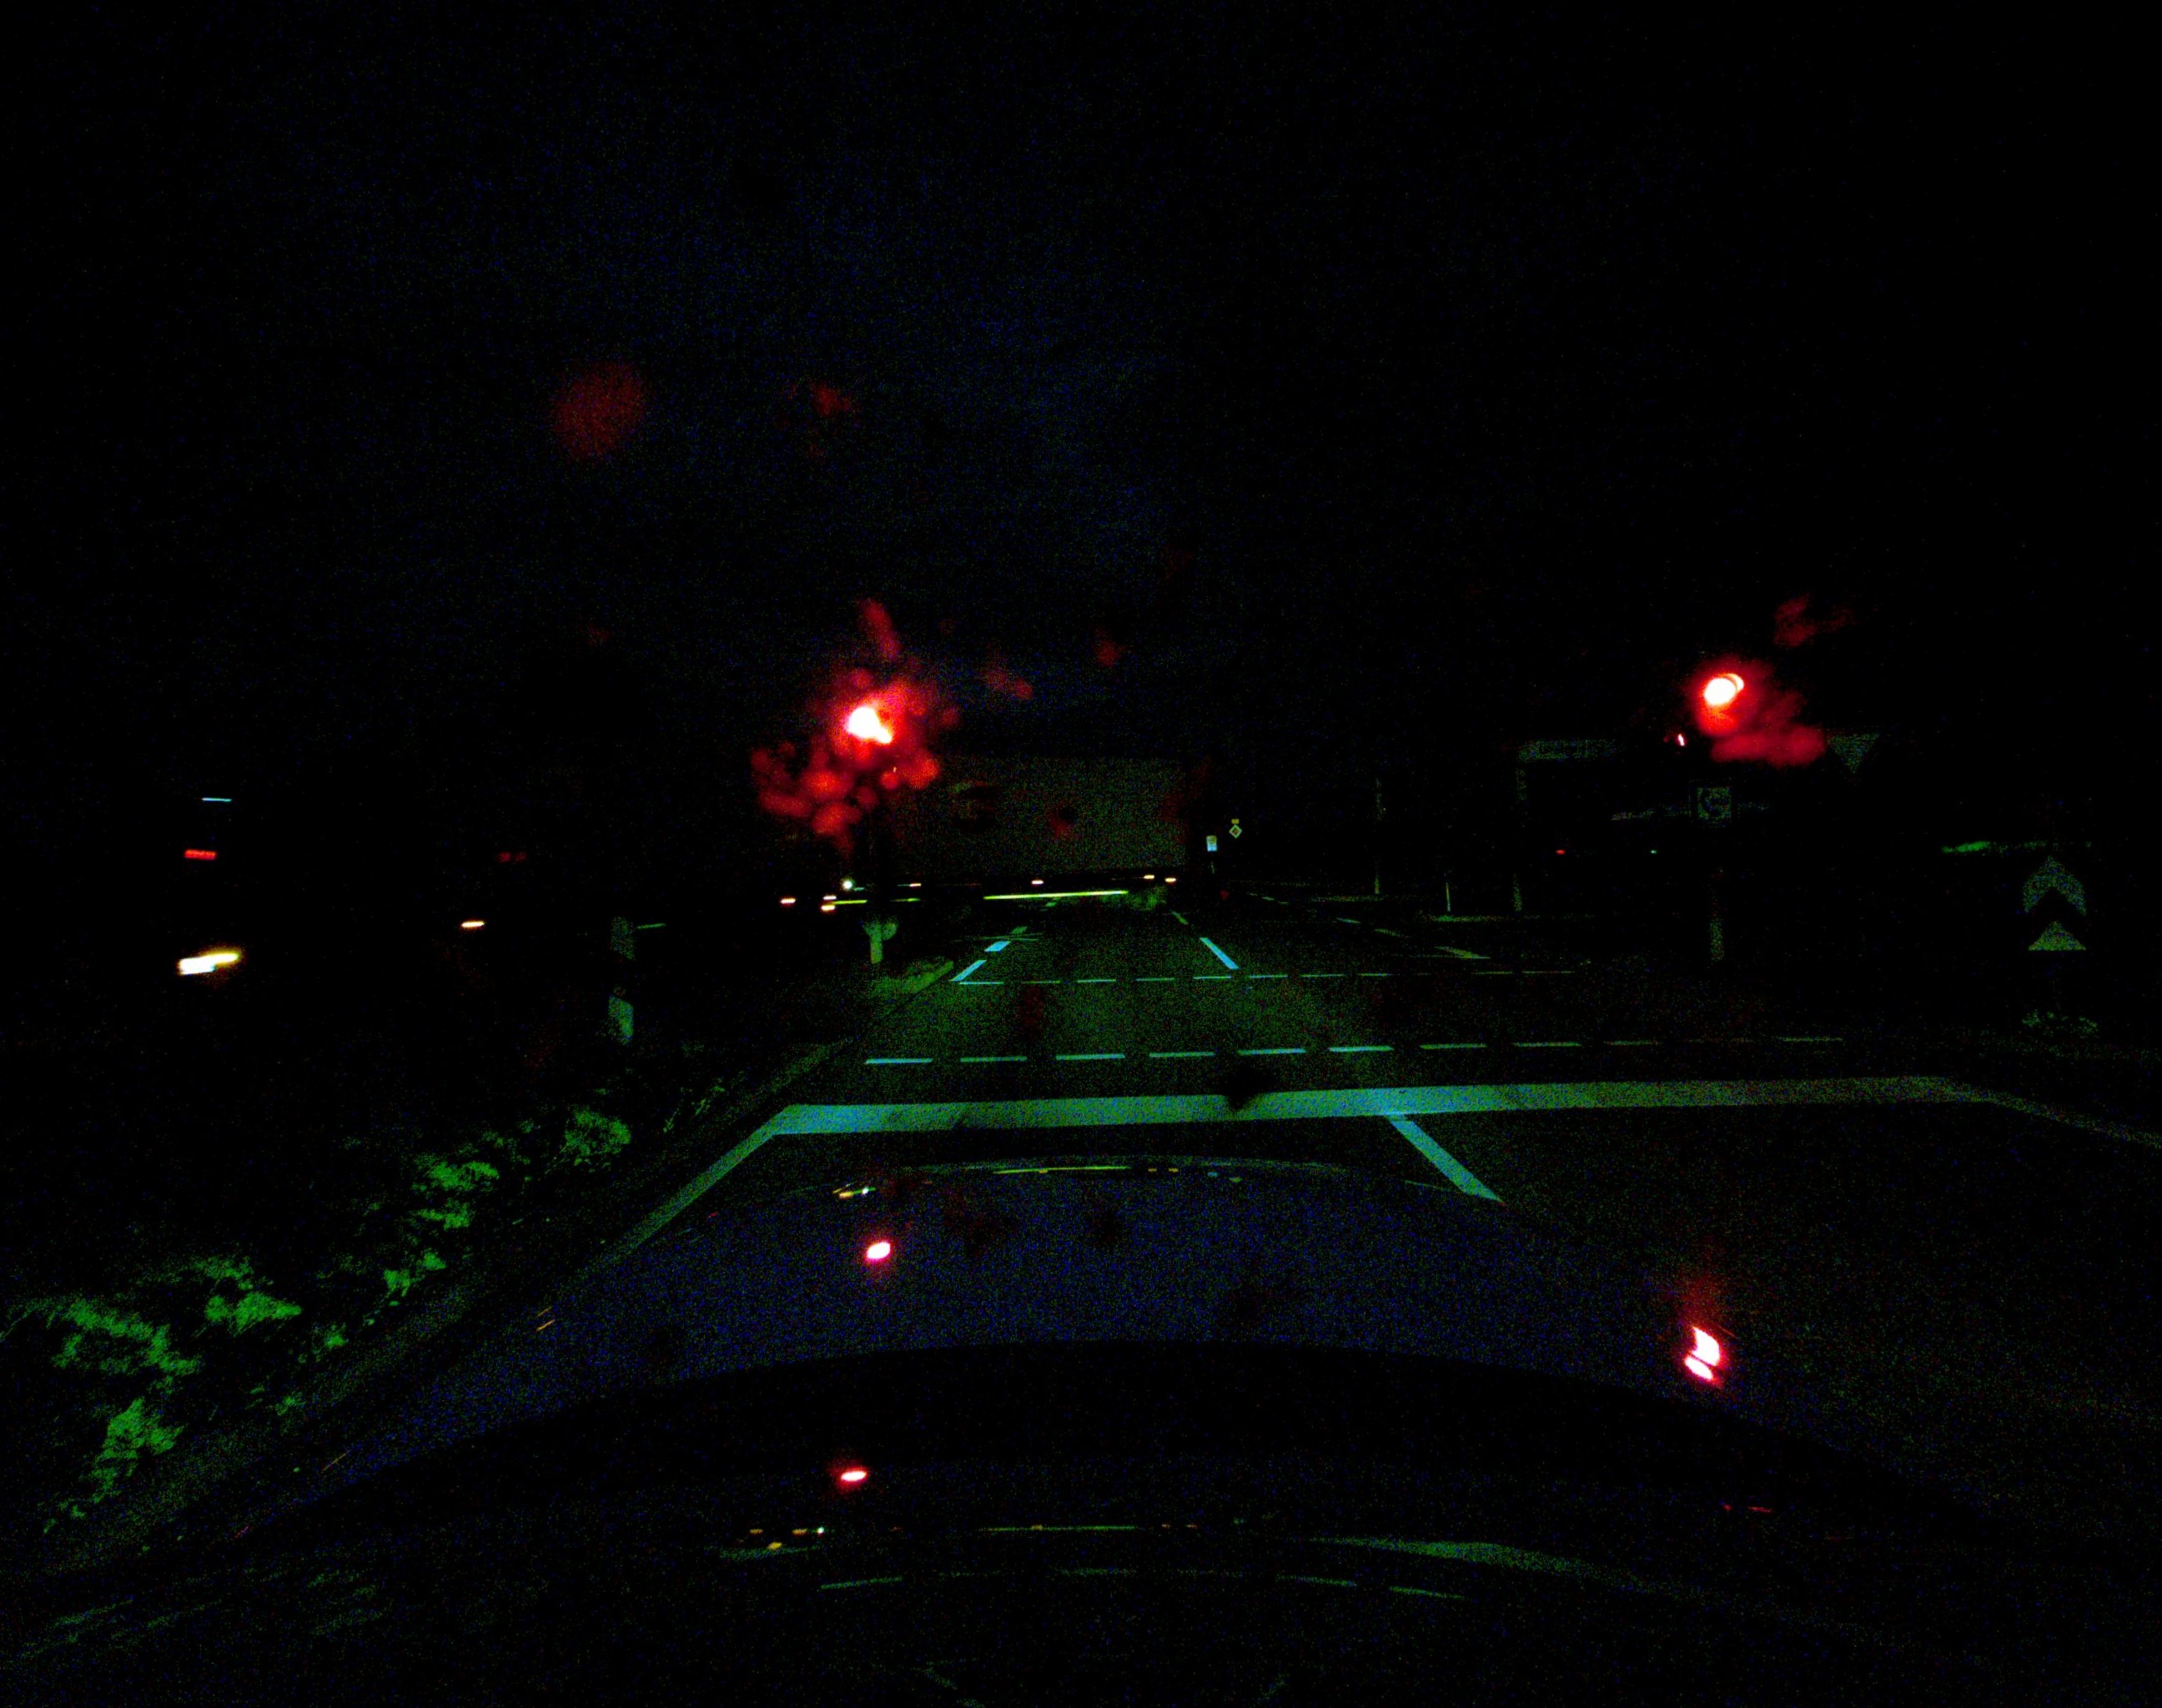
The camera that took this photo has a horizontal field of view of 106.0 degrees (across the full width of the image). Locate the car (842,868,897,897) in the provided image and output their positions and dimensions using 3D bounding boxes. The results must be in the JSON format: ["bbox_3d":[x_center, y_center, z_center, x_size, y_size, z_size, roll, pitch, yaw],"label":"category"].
[{"bbox_3d":[-10.858,1.447,42.052,1.646,1.384,4.031,0,0,1],"label":"car"}]

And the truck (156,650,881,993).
[{"bbox_3d":[-8.710,-0.416,14.738,2.699,4.117,10.412,-2,-1,37],"label":"truck"}]

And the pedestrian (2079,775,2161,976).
[{"bbox_3d":[11.218,0.218,8.463,0.775,2.014,0.714,0,-1,3],"label":"pedestrian"}]

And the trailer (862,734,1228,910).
[{"bbox_3d":[-0.889,-0.909,20.837,8.873,3.943,2.569,-3,0,-18],"label":"trailer"}]

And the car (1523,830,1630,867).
[{"bbox_3d":[25.354,-0.287,41.721,4.419,1.664,2.013,-3,0,36],"label":"car"}]
